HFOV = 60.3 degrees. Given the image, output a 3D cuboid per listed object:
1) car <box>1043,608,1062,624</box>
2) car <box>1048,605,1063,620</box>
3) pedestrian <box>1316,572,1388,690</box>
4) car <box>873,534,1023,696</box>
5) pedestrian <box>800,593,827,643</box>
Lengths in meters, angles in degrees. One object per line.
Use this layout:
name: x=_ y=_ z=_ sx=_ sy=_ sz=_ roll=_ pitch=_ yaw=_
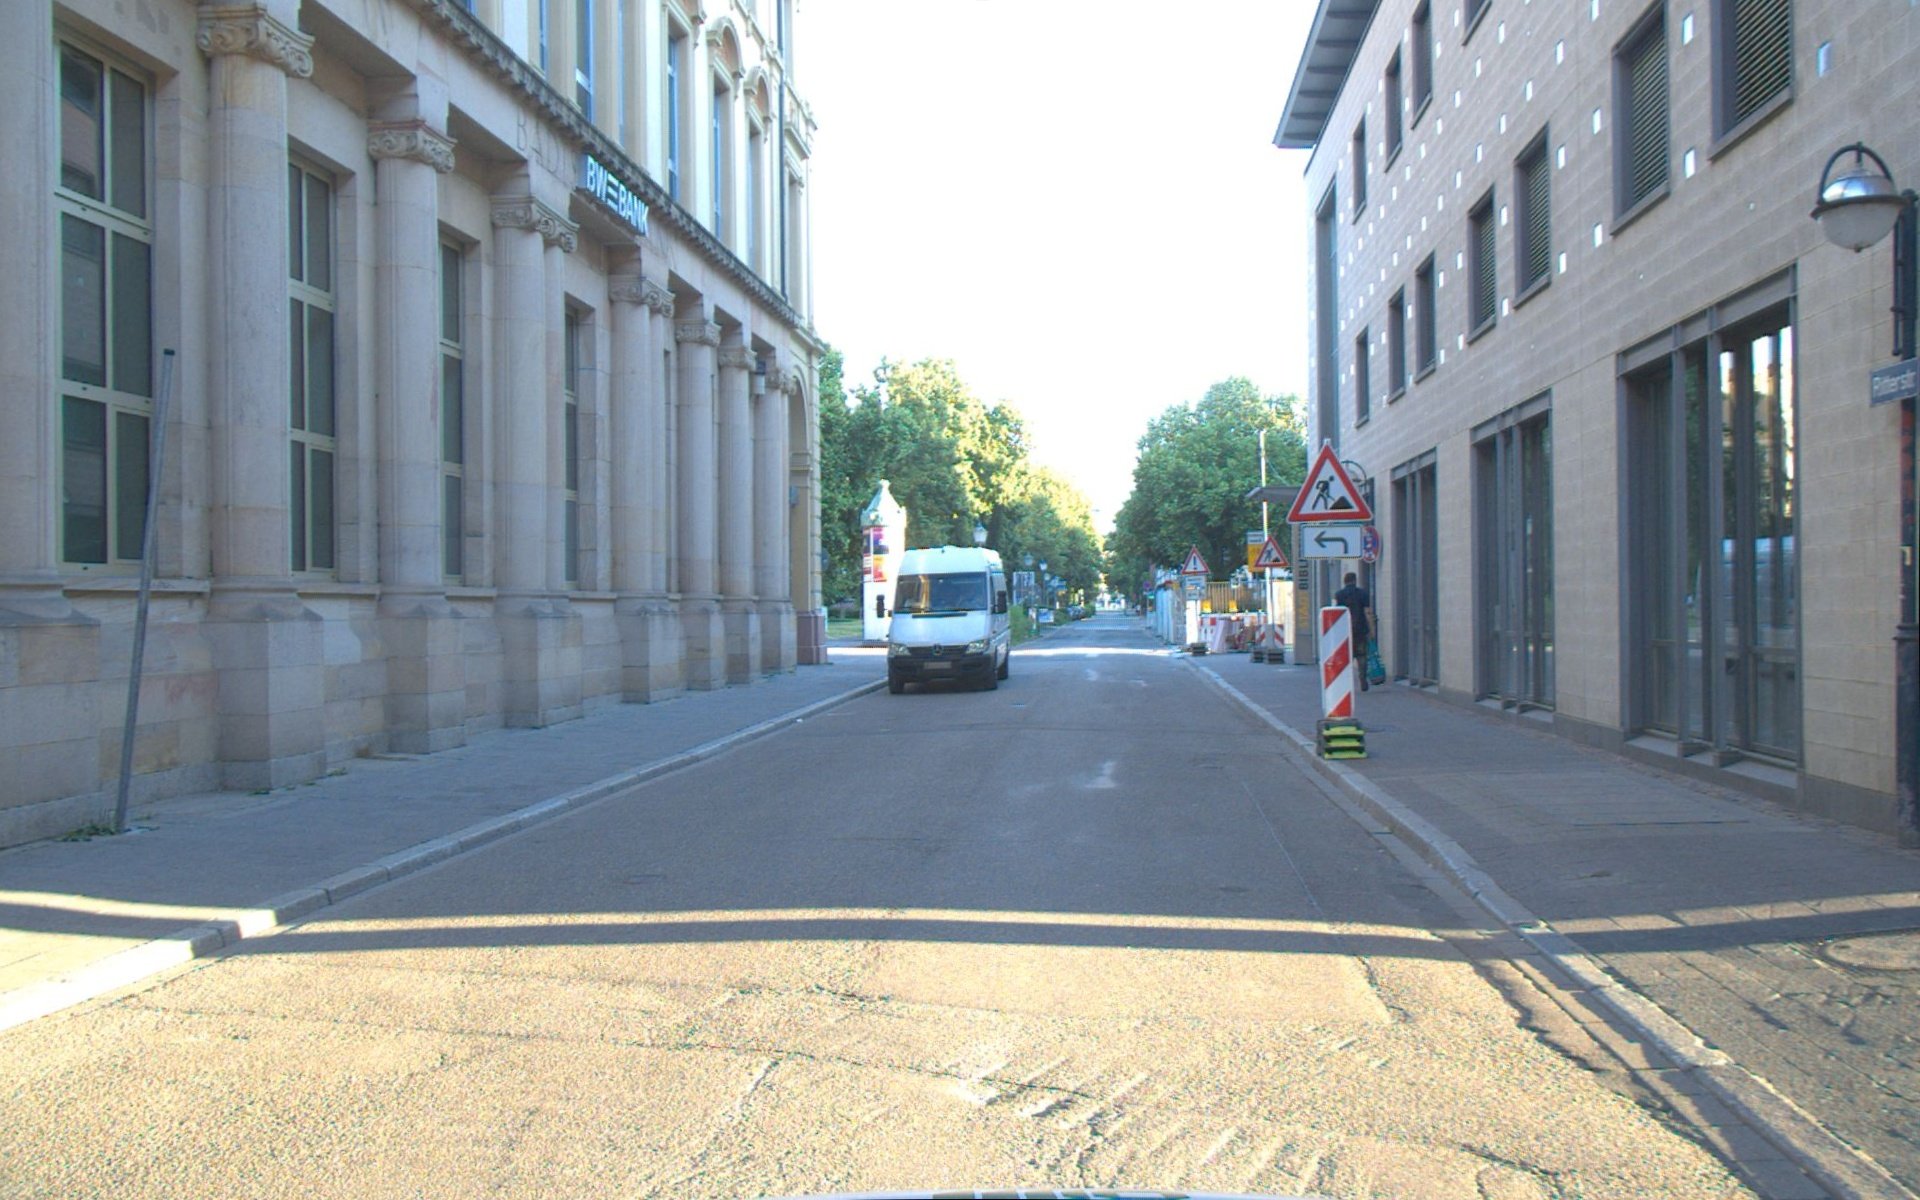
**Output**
car: x=7.564 y=1.328 z=134.790 sx=1.437 sy=1.278 sz=3.681 roll=0 pitch=0 yaw=5
car: x=9.294 y=1.204 z=160.675 sx=1.437 sy=1.429 sz=3.681 roll=0 pitch=0 yaw=5
pedestrian: x=5.932 y=0.463 z=25.073 sx=0.903 sy=1.732 sz=0.869 roll=-2 pitch=-1 yaw=5
car: x=-0.084 y=0.256 z=30.787 sx=1.954 sy=2.556 sz=6.474 roll=-4 pitch=0 yaw=5
pedestrian: x=-5.224 y=0.644 z=58.923 sx=0.730 sy=1.732 sz=0.703 roll=-2 pitch=-1 yaw=12
